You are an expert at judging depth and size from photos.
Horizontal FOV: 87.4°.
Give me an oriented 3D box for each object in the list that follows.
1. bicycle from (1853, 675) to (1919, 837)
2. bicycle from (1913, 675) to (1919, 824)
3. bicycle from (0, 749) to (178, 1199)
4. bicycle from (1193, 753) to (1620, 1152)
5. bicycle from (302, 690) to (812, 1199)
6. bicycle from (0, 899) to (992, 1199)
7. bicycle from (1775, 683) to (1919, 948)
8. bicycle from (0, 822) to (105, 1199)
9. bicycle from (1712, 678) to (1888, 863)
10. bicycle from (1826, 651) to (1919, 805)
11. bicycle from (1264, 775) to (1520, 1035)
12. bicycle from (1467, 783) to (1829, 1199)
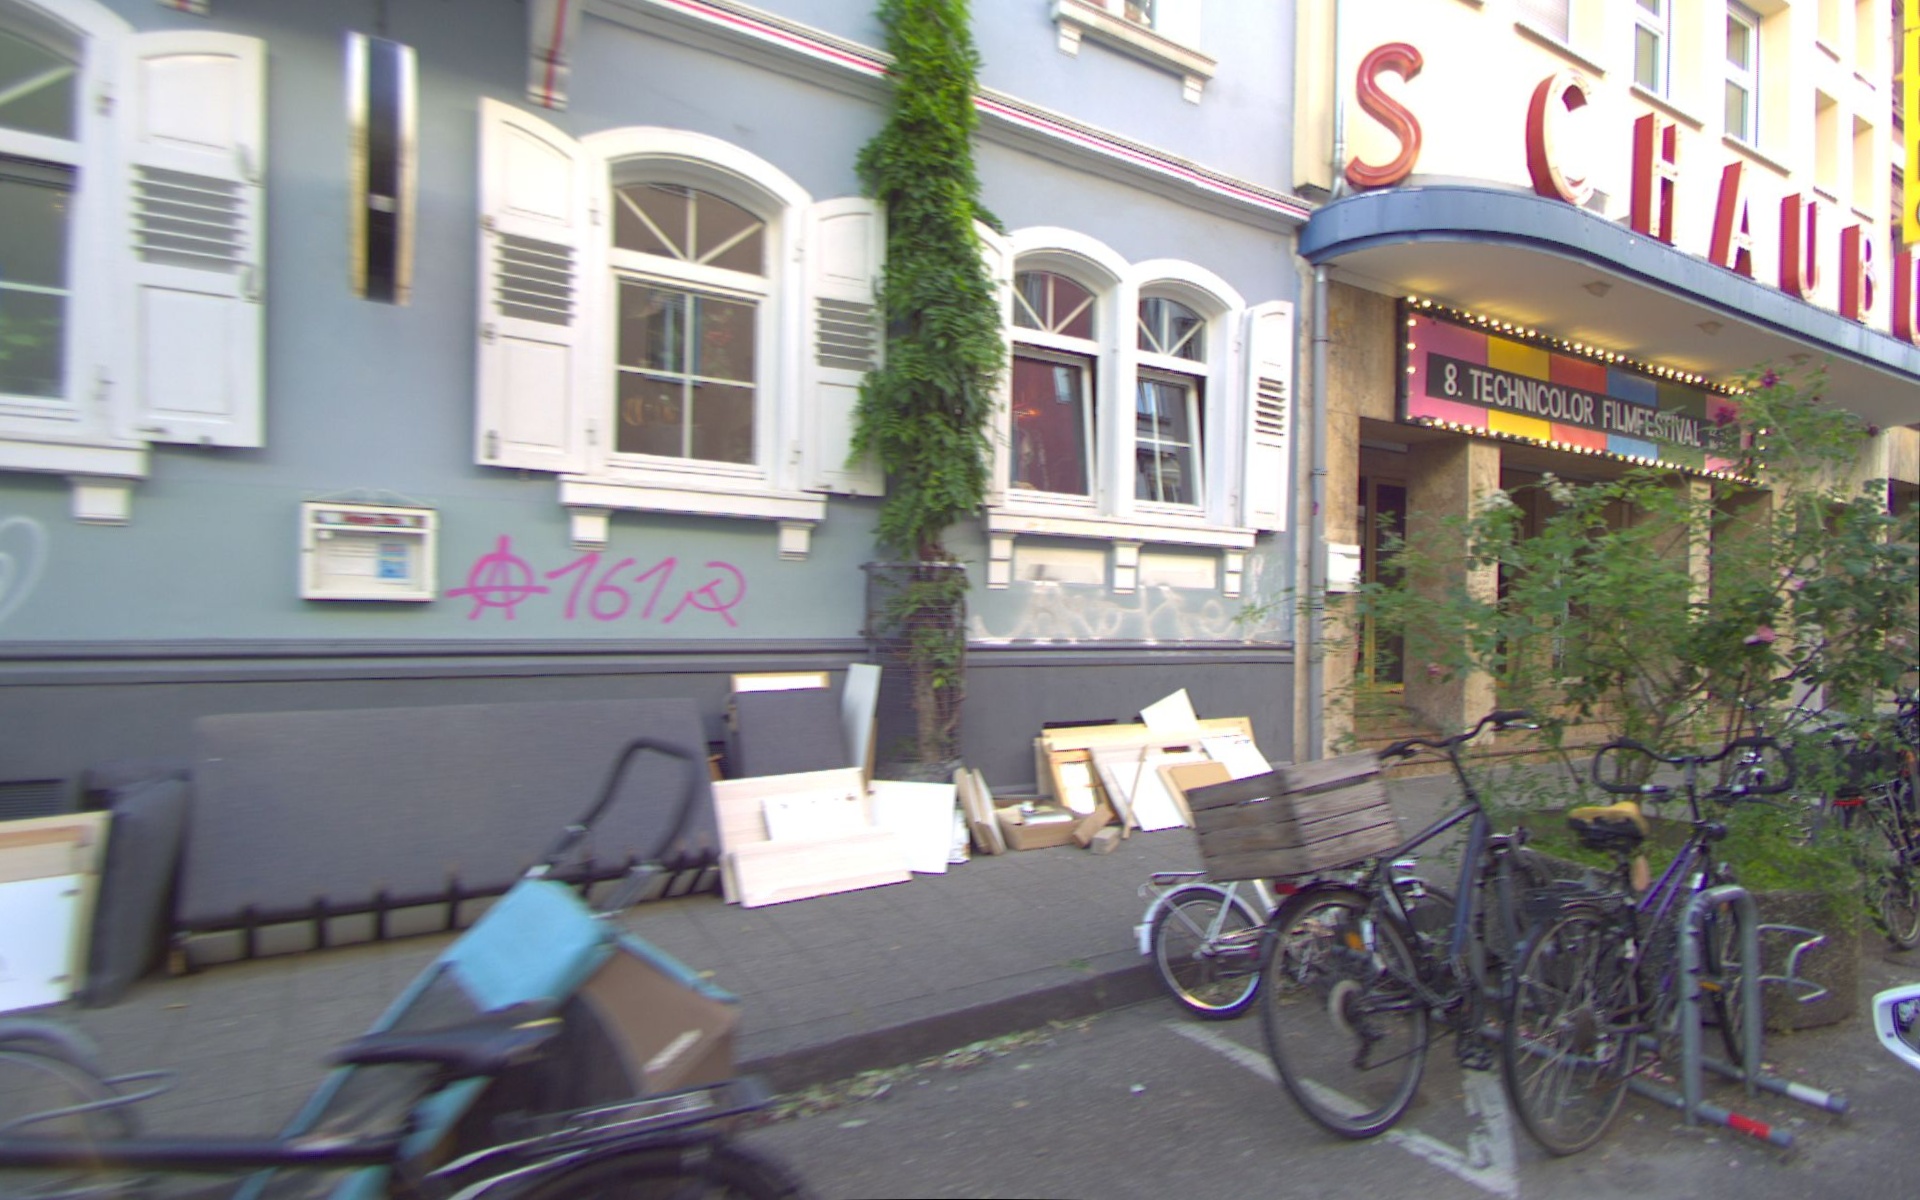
[{"bbox_3d":[7.140,1.124,7.481,1.305,1.061,0.414,1,1,-35],"label":"bicycle"},{"bbox_3d":[8.477,1.217,8.400,1.653,1.189,0.396,1,1,-35],"label":"bicycle"},{"bbox_3d":[-2.481,0.904,1.772,1.679,1.120,0.441,1,0,-32],"label":"bicycle"},{"bbox_3d":[1.575,1.088,3.464,1.553,0.956,0.551,1,-1,-31],"label":"bicycle"},{"bbox_3d":[-0.925,0.844,2.256,0.910,1.190,0.808,1,0,-33],"label":"bicycle"},{"bbox_3d":[-0.579,1.030,1.475,1.275,0.929,0.320,1,-1,-31],"label":"bicycle"},{"bbox_3d":[5.025,1.052,5.358,1.863,1.109,0.542,1,1,-35],"label":"bicycle"},{"bbox_3d":[-2.207,0.934,1.068,1.910,1.120,0.441,1,0,-32],"label":"bicycle"},{"bbox_3d":[5.716,1.100,6.815,1.396,1.059,0.570,1,0,-35],"label":"bicycle"},{"bbox_3d":[7.885,1.053,8.599,1.475,1.189,0.336,1,1,-35],"label":"bicycle"},{"bbox_3d":[1.810,1.202,4.145,1.284,0.828,0.254,1,0,-31],"label":"bicycle"},{"bbox_3d":[2.173,1.115,3.122,1.377,0.929,0.388,1,-1,-31],"label":"bicycle"}]
